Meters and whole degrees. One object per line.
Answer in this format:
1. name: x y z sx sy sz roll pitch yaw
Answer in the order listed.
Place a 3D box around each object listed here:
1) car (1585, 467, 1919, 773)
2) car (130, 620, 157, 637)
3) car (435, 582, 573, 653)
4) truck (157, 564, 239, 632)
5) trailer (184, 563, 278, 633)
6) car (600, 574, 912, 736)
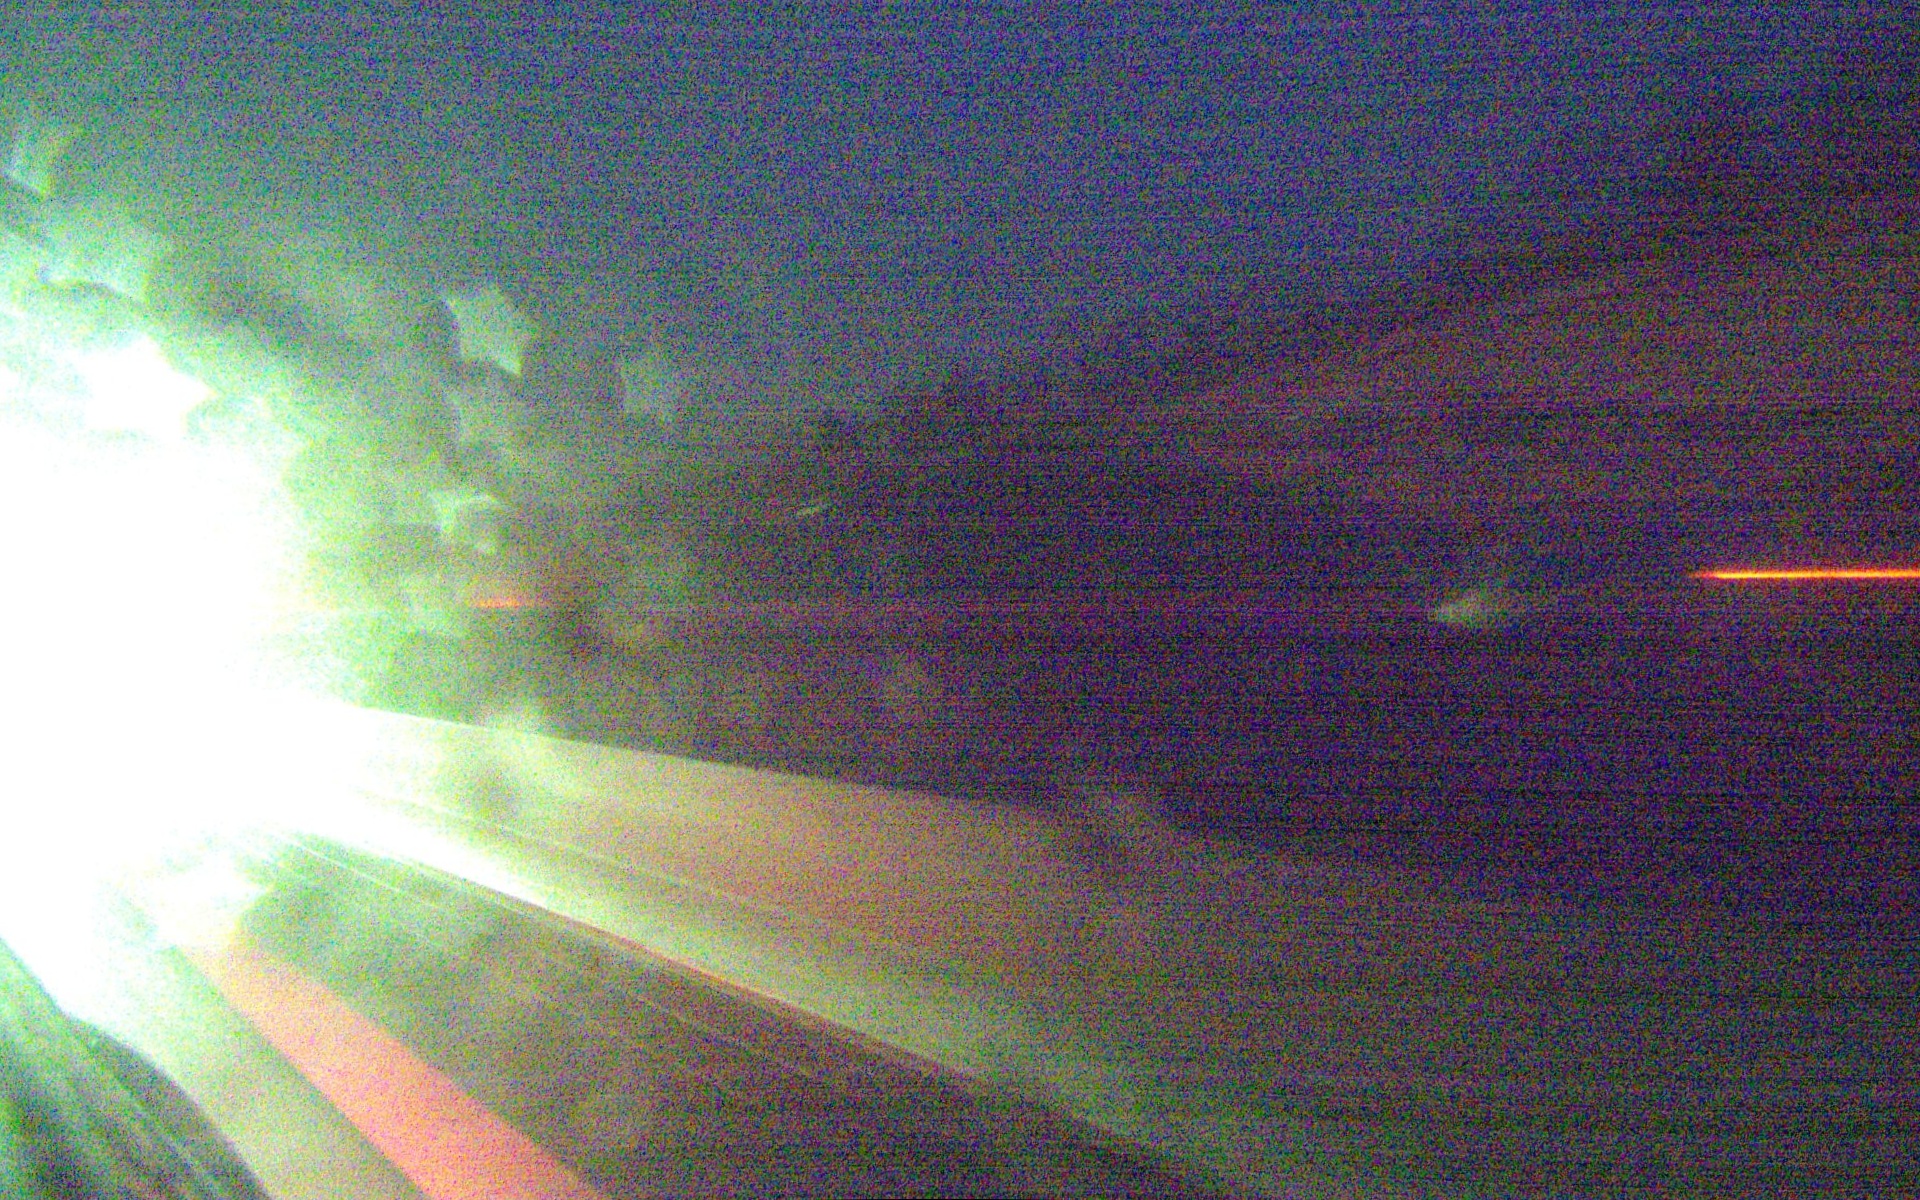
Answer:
1. car: 6.163 0.007 5.865 3.998 1.647 1.974 -3 3 41
2. car: -98.241 3.449 121.724 1.971 1.697 4.002 -7 3 -44
3. car: -13.022 0.519 28.800 3.998 1.676 1.974 -3 3 41
4. truck: -53.732 -0.042 71.199 2.915 4.066 10.658 -7 3 -45
5. trailer: -46.435 -0.040 64.308 9.502 3.776 2.897 -3 3 44
6. car: -3.350 0.824 15.887 5.187 2.028 1.973 -3 3 42
